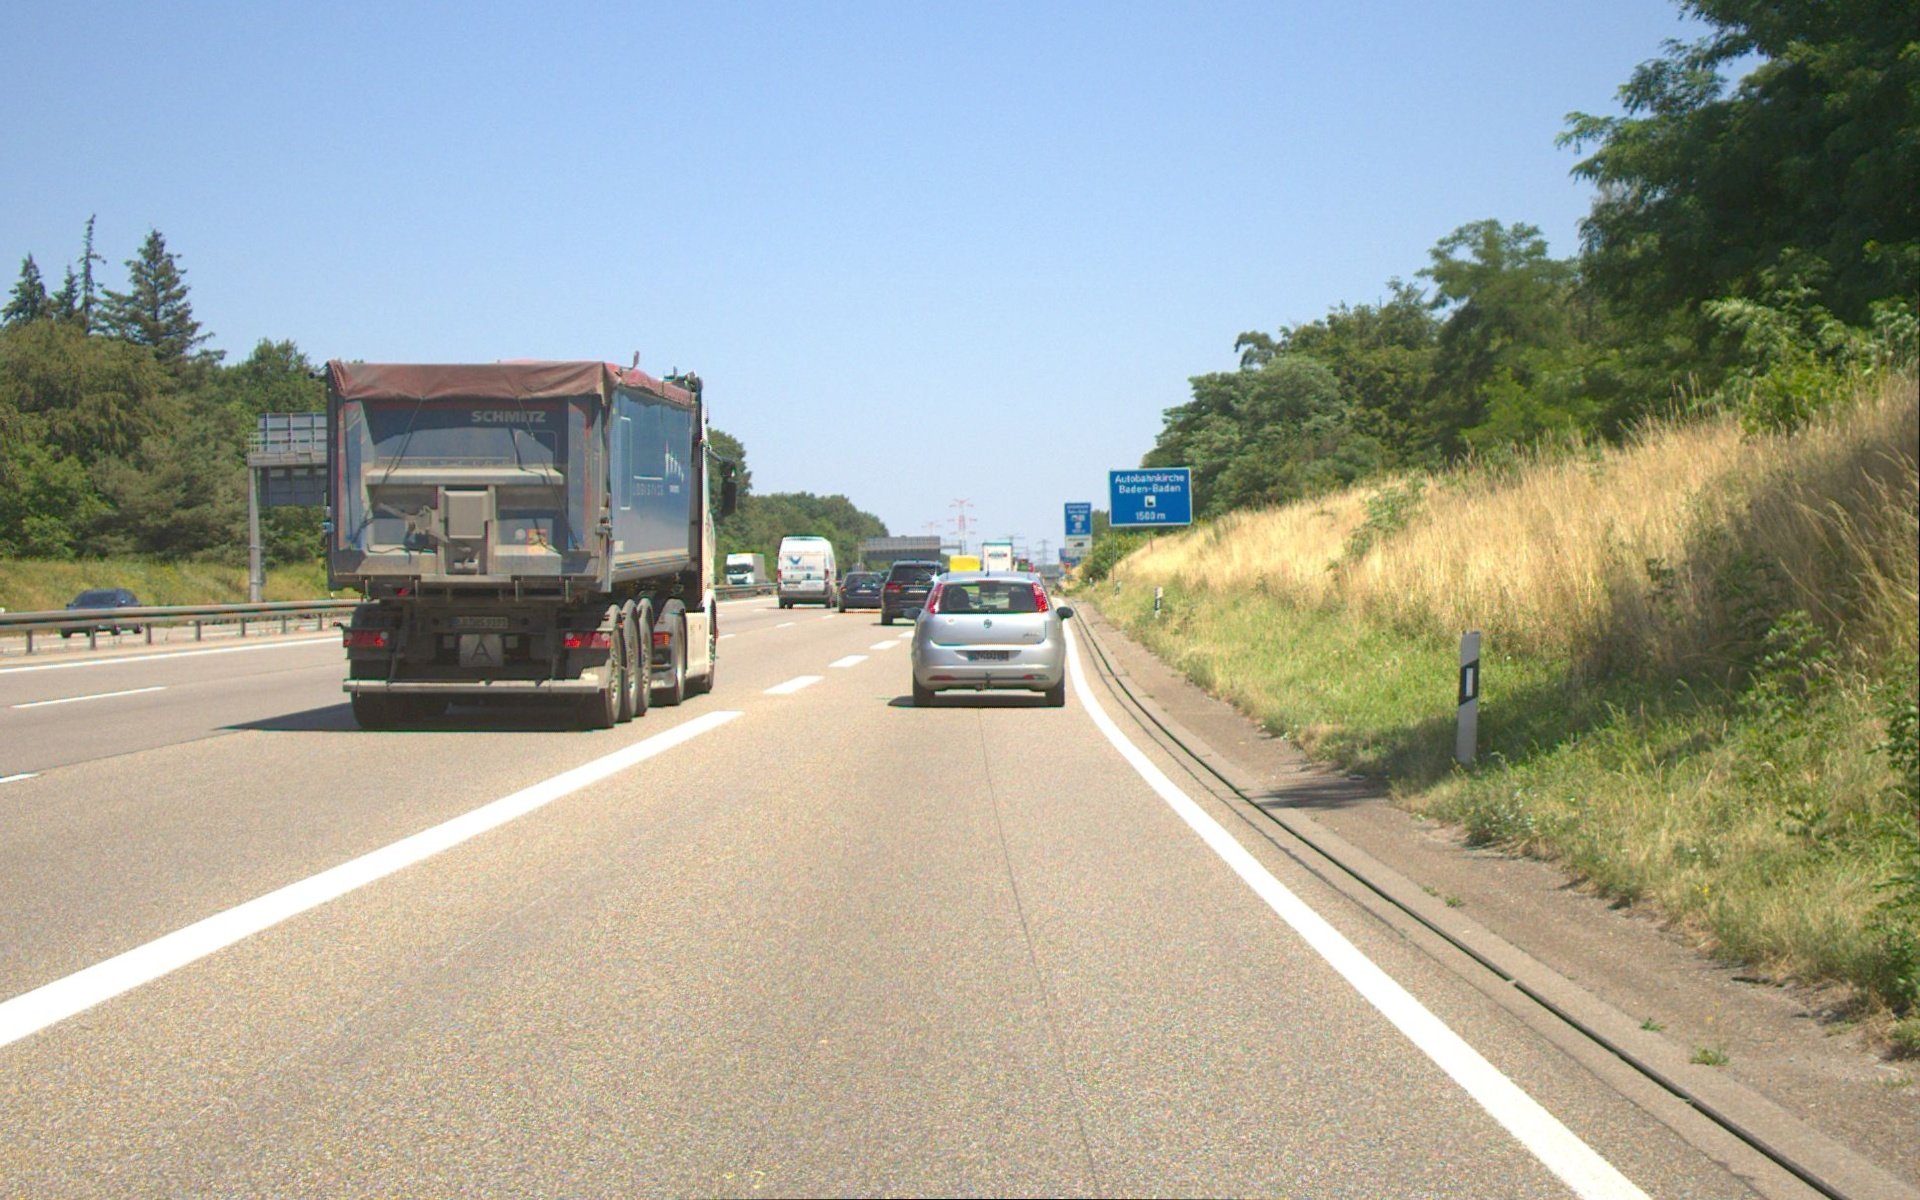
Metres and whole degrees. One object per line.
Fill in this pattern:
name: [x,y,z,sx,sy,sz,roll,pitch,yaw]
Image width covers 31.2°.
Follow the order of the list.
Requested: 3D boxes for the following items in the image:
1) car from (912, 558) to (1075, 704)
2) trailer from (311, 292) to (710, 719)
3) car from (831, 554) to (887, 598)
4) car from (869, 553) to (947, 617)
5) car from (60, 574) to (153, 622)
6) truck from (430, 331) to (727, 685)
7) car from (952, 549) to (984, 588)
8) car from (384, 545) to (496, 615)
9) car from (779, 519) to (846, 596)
car: [0.340,0.305,38.398,1.719,1.486,3.737,1,1,0]
trailer: [-4.276,-0.931,34.735,2.737,3.745,9.109,0,1,1]
car: [-3.553,-0.852,121.620,1.894,1.464,4.262,1,1,-1]
car: [-1.395,-0.411,94.041,1.832,1.666,4.000,1,1,3]
car: [-27.354,-0.084,110.322,1.691,1.387,4.676,-2,1,1]
truck: [-4.234,-1.038,39.323,2.684,3.745,5.944,0,1,1]
car: [0.427,-1.660,179.545,1.611,2.007,4.000,1,1,1]
car: [-11.658,-0.474,77.322,1.703,1.469,4.597,0,1,2]
car: [-5.794,-1.675,135.468,2.260,2.940,6.114,1,1,1]
